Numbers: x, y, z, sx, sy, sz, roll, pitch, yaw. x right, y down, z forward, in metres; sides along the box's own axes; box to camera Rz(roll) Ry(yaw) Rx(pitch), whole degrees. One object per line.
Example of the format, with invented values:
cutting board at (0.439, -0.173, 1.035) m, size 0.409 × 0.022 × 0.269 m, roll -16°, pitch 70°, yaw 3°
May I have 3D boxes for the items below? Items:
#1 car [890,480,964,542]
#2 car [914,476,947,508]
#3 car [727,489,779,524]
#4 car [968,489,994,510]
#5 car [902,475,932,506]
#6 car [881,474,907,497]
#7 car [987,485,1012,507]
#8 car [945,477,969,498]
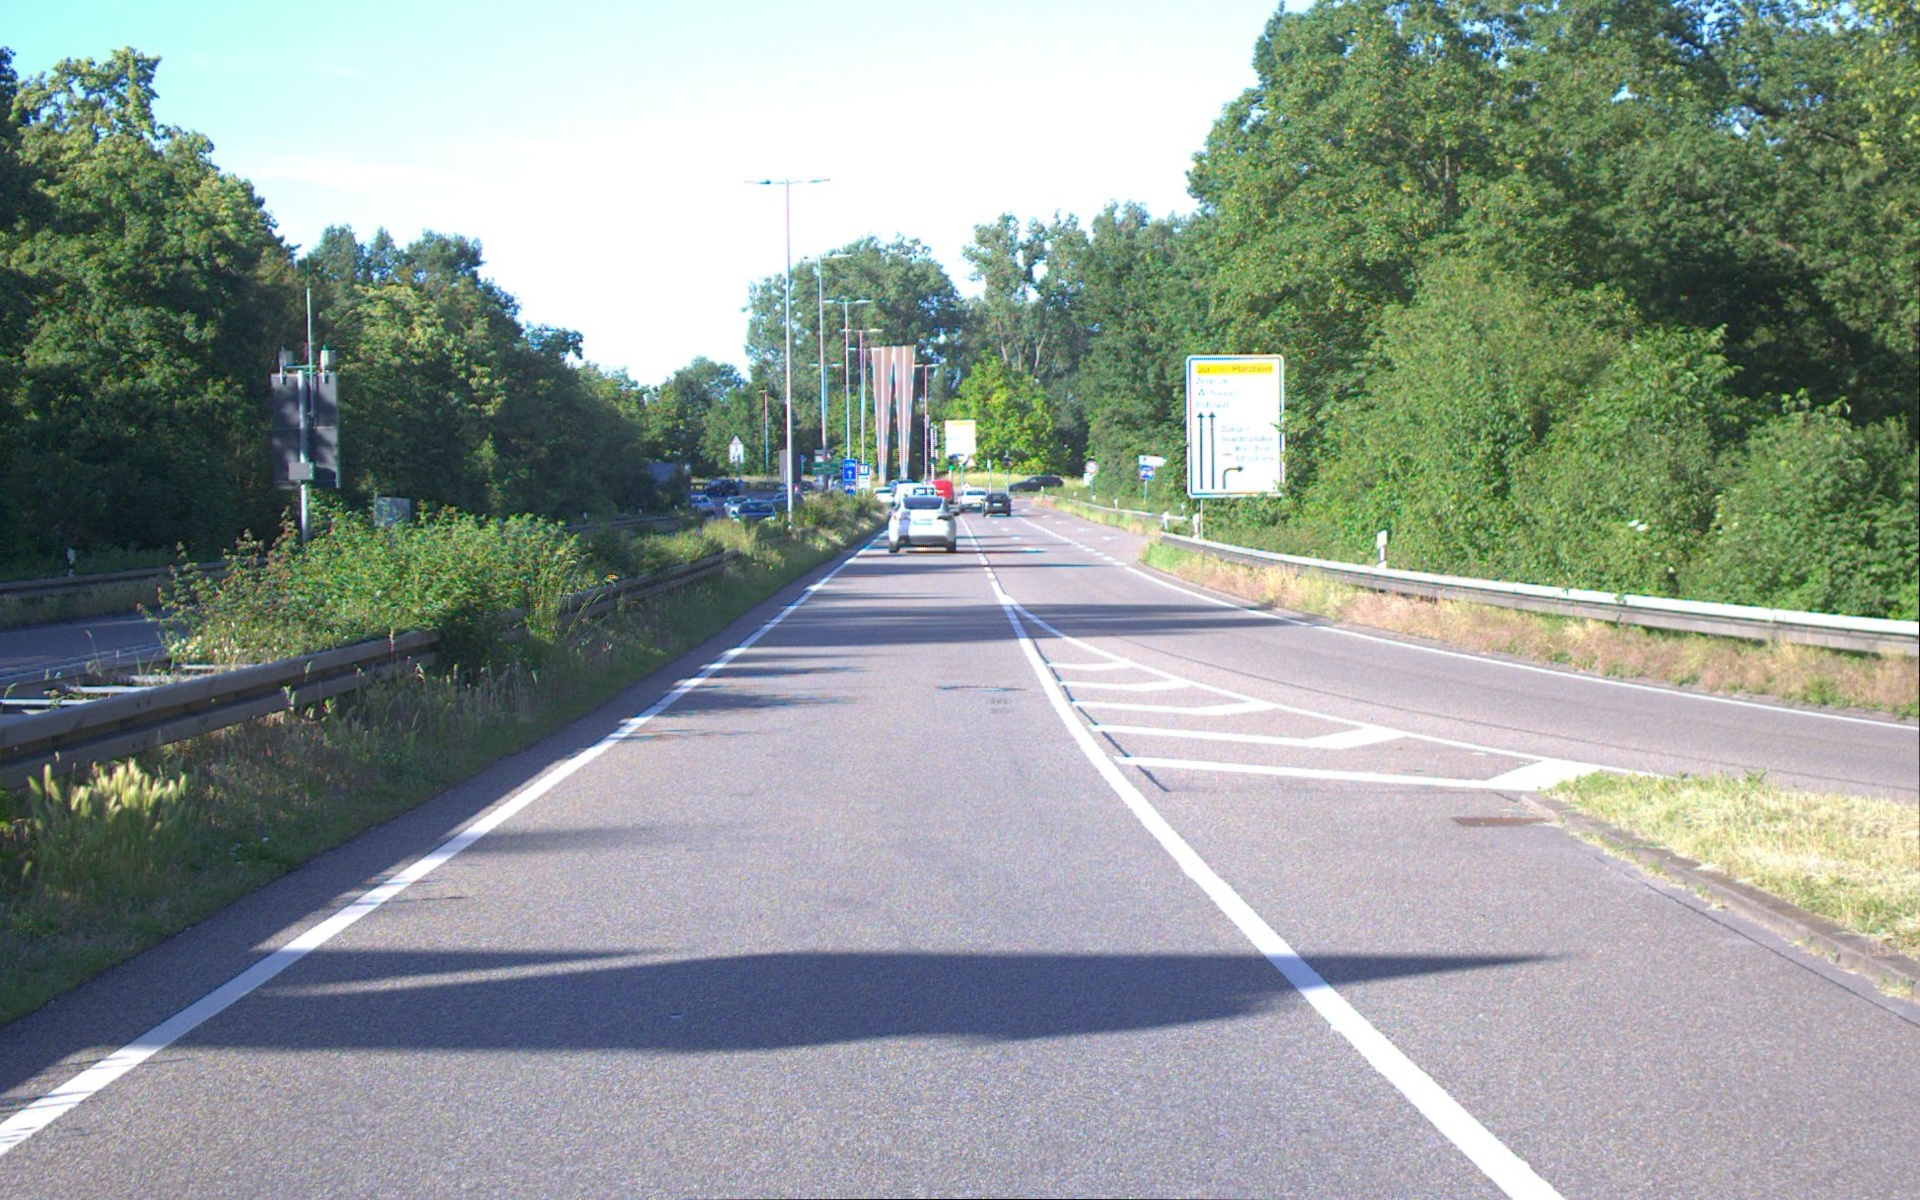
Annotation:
car at (-0.969, -2.581, 98.588) m, size 1.993 × 1.634 × 4.129 m, roll -1°, pitch 3°, yaw -2°
car at (-1.849, -6.803, 216.024) m, size 1.993 × 1.873 × 4.250 m, roll -1°, pitch 3°, yaw -1°
car at (-8.725, -3.959, 145.090) m, size 1.781 × 1.398 × 4.553 m, roll -1°, pitch 2°, yaw 1°
car at (1.341, -6.499, 222.071) m, size 1.624 × 1.276 × 2.987 m, roll 2°, pitch 1°, yaw -1°
car at (-2.918, -7.392, 232.369) m, size 1.993 × 2.007 × 4.000 m, roll 1°, pitch 1°, yaw -1°
car at (-4.712, -8.165, 245.377) m, size 1.827 × 1.508 × 3.633 m, roll 1°, pitch 1°, yaw -1°
car at (2.338, -6.176, 204.314) m, size 1.388 × 1.276 × 2.987 m, roll 2°, pitch 1°, yaw -1°
car at (-0.229, -7.961, 244.406) m, size 1.624 × 1.385 × 2.987 m, roll 2°, pitch 1°, yaw -1°
